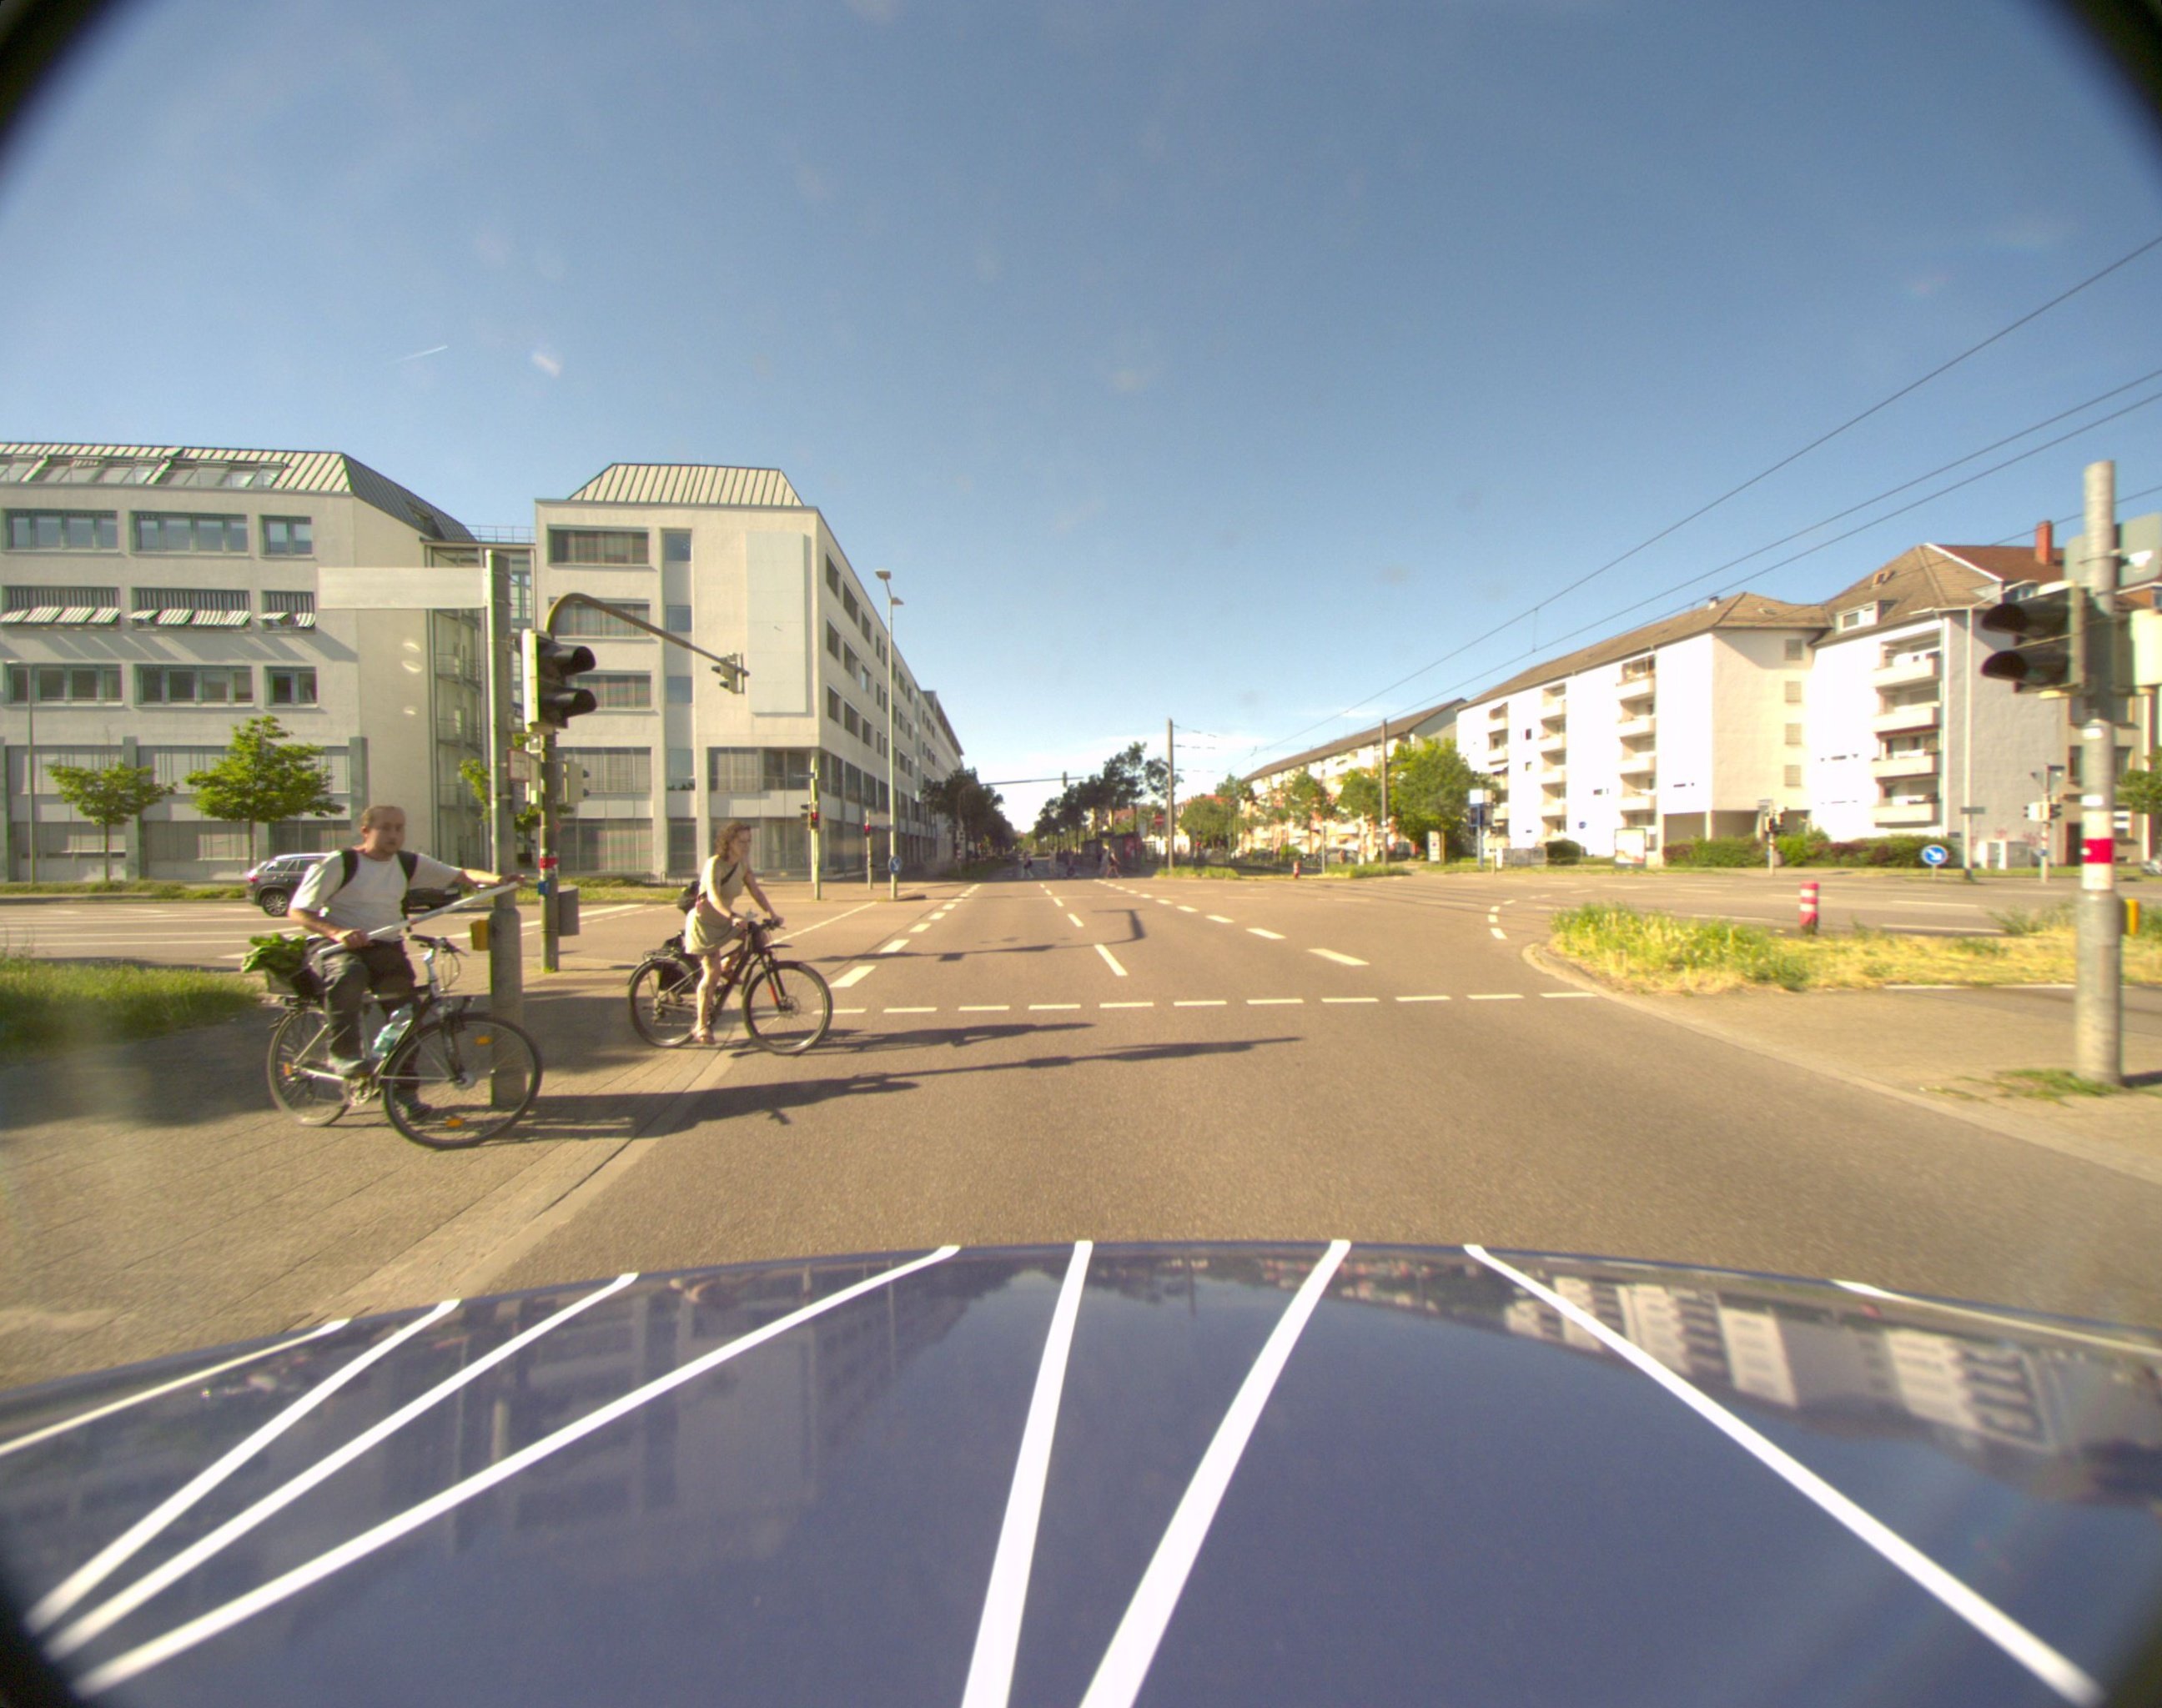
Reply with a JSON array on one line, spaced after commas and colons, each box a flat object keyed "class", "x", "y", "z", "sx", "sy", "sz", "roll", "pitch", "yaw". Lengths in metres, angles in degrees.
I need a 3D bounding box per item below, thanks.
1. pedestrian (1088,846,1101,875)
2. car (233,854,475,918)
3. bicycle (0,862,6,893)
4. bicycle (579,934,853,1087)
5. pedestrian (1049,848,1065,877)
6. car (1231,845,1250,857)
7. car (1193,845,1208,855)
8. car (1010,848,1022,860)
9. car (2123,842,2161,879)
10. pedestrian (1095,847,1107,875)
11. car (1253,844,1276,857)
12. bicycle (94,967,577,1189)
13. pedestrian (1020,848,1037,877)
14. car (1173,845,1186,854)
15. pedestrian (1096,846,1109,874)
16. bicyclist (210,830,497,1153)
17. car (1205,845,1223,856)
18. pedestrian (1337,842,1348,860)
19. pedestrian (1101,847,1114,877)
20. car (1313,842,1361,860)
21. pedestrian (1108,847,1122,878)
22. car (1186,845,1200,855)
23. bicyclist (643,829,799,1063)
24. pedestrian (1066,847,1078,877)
[{"class": "pedestrian", "x": 0.814, "y": 0.387, "z": 44.574, "sx": 0.732, "sy": 1.687, "sz": 0.735, "roll": -1, "pitch": 1, "yaw": 2}, {"class": "car", "x": -20.020, "y": 0.851, "z": 21.117, "sx": 4.629, "sy": 1.613, "sz": 1.999, "roll": -1, "pitch": 1, "yaw": -3}, {"class": "bicycle", "x": -48.414, "y": 1.054, "z": 32.340, "sx": 3.534, "sy": 1.340, "sz": 0.989, "roll": -1, "pitch": 1, "yaw": -5}, {"class": "bicycle", "x": -2.830, "y": 1.167, "z": 5.958, "sx": 1.825, "sy": 0.958, "sz": 0.818, "roll": 0, "pitch": 1, "yaw": 14}, {"class": "pedestrian", "x": -1.429, "y": 0.469, "z": 44.756, "sx": 0.881, "sy": 1.687, "sz": 0.735, "roll": -1, "pitch": 1, "yaw": 2}, {"class": "car", "x": 23.400, "y": -0.397, "z": 111.557, "sx": 1.693, "sy": 1.700, "sz": 4.239, "roll": -1, "pitch": 0, "yaw": -5}, {"class": "car", "x": 21.520, "y": -0.717, "z": 136.945, "sx": 1.693, "sy": 1.700, "sz": 4.239, "roll": -1, "pitch": 0, "yaw": -5}, {"class": "car", "x": -9.558, "y": -0.062, "z": 111.759, "sx": 1.693, "sy": 1.700, "sz": 4.239, "roll": -1, "pitch": 0, "yaw": -5}, {"class": "car", "x": 45.002, "y": 0.225, "z": 30.267, "sx": 4.188, "sy": 1.457, "sz": 2.333, "roll": -1, "pitch": 0, "yaw": -6}, {"class": "pedestrian", "x": 1.214, "y": 0.408, "z": 46.408, "sx": 0.732, "sy": 1.687, "sz": 0.735, "roll": -1, "pitch": 1, "yaw": 2}, {"class": "car", "x": 24.357, "y": -0.425, "z": 101.186, "sx": 1.693, "sy": 1.700, "sz": 4.239, "roll": -1, "pitch": 0, "yaw": -5}, {"class": "bicycle", "x": -3.968, "y": 1.168, "z": 4.176, "sx": 1.827, "sy": 0.958, "sz": 0.855, "roll": -1, "pitch": 1, "yaw": 2}, {"class": "pedestrian", "x": -3.100, "y": 0.505, "z": 44.730, "sx": 0.731, "sy": 1.687, "sz": 0.736, "roll": 0, "pitch": 1, "yaw": 17}, {"class": "car", "x": 19.875, "y": -0.891, "z": 154.106, "sx": 1.693, "sy": 1.700, "sz": 4.402, "roll": -1, "pitch": 0, "yaw": -5}, {"class": "pedestrian", "x": 1.295, "y": 0.361, "z": 45.362, "sx": 0.732, "sy": 1.687, "sz": 0.735, "roll": -1, "pitch": 1, "yaw": 2}, {"class": "bicyclist", "x": -3.907, "y": 0.678, "z": 4.163, "sx": 0.714, "sy": 1.591, "sz": 0.850, "roll": -1, "pitch": 1, "yaw": 2}, {"class": "car", "x": 22.170, "y": -0.606, "z": 126.813, "sx": 1.833, "sy": 1.700, "sz": 4.239, "roll": -1, "pitch": 0, "yaw": -5}, {"class": "pedestrian", "x": 24.788, "y": -0.264, "z": 72.099, "sx": 0.786, "sy": 1.701, "sz": 0.703, "roll": -1, "pitch": 1, "yaw": -5}, {"class": "pedestrian", "x": 1.543, "y": 0.467, "z": 44.021, "sx": 0.732, "sy": 1.687, "sz": 0.735, "roll": -1, "pitch": 1, "yaw": 2}, {"class": "car", "x": 24.693, "y": -0.250, "z": 73.256, "sx": 4.230, "sy": 1.700, "sz": 1.697, "roll": 0, "pitch": 1, "yaw": 26}, {"class": "pedestrian", "x": 1.863, "y": 0.445, "z": 41.340, "sx": 0.723, "sy": 1.687, "sz": 0.608, "roll": -1, "pitch": 1, "yaw": 2}, {"class": "car", "x": 20.926, "y": -0.756, "z": 142.117, "sx": 1.693, "sy": 1.700, "sz": 4.402, "roll": -1, "pitch": 0, "yaw": -5}, {"class": "bicyclist", "x": -2.780, "y": 0.665, "z": 5.938, "sx": 0.714, "sy": 1.682, "sz": 0.818, "roll": 0, "pitch": 1, "yaw": 14}, {"class": "pedestrian", "x": -0.537, "y": 0.438, "z": 42.837, "sx": 0.640, "sy": 1.687, "sz": 0.608, "roll": -1, "pitch": 1, "yaw": -3}]
